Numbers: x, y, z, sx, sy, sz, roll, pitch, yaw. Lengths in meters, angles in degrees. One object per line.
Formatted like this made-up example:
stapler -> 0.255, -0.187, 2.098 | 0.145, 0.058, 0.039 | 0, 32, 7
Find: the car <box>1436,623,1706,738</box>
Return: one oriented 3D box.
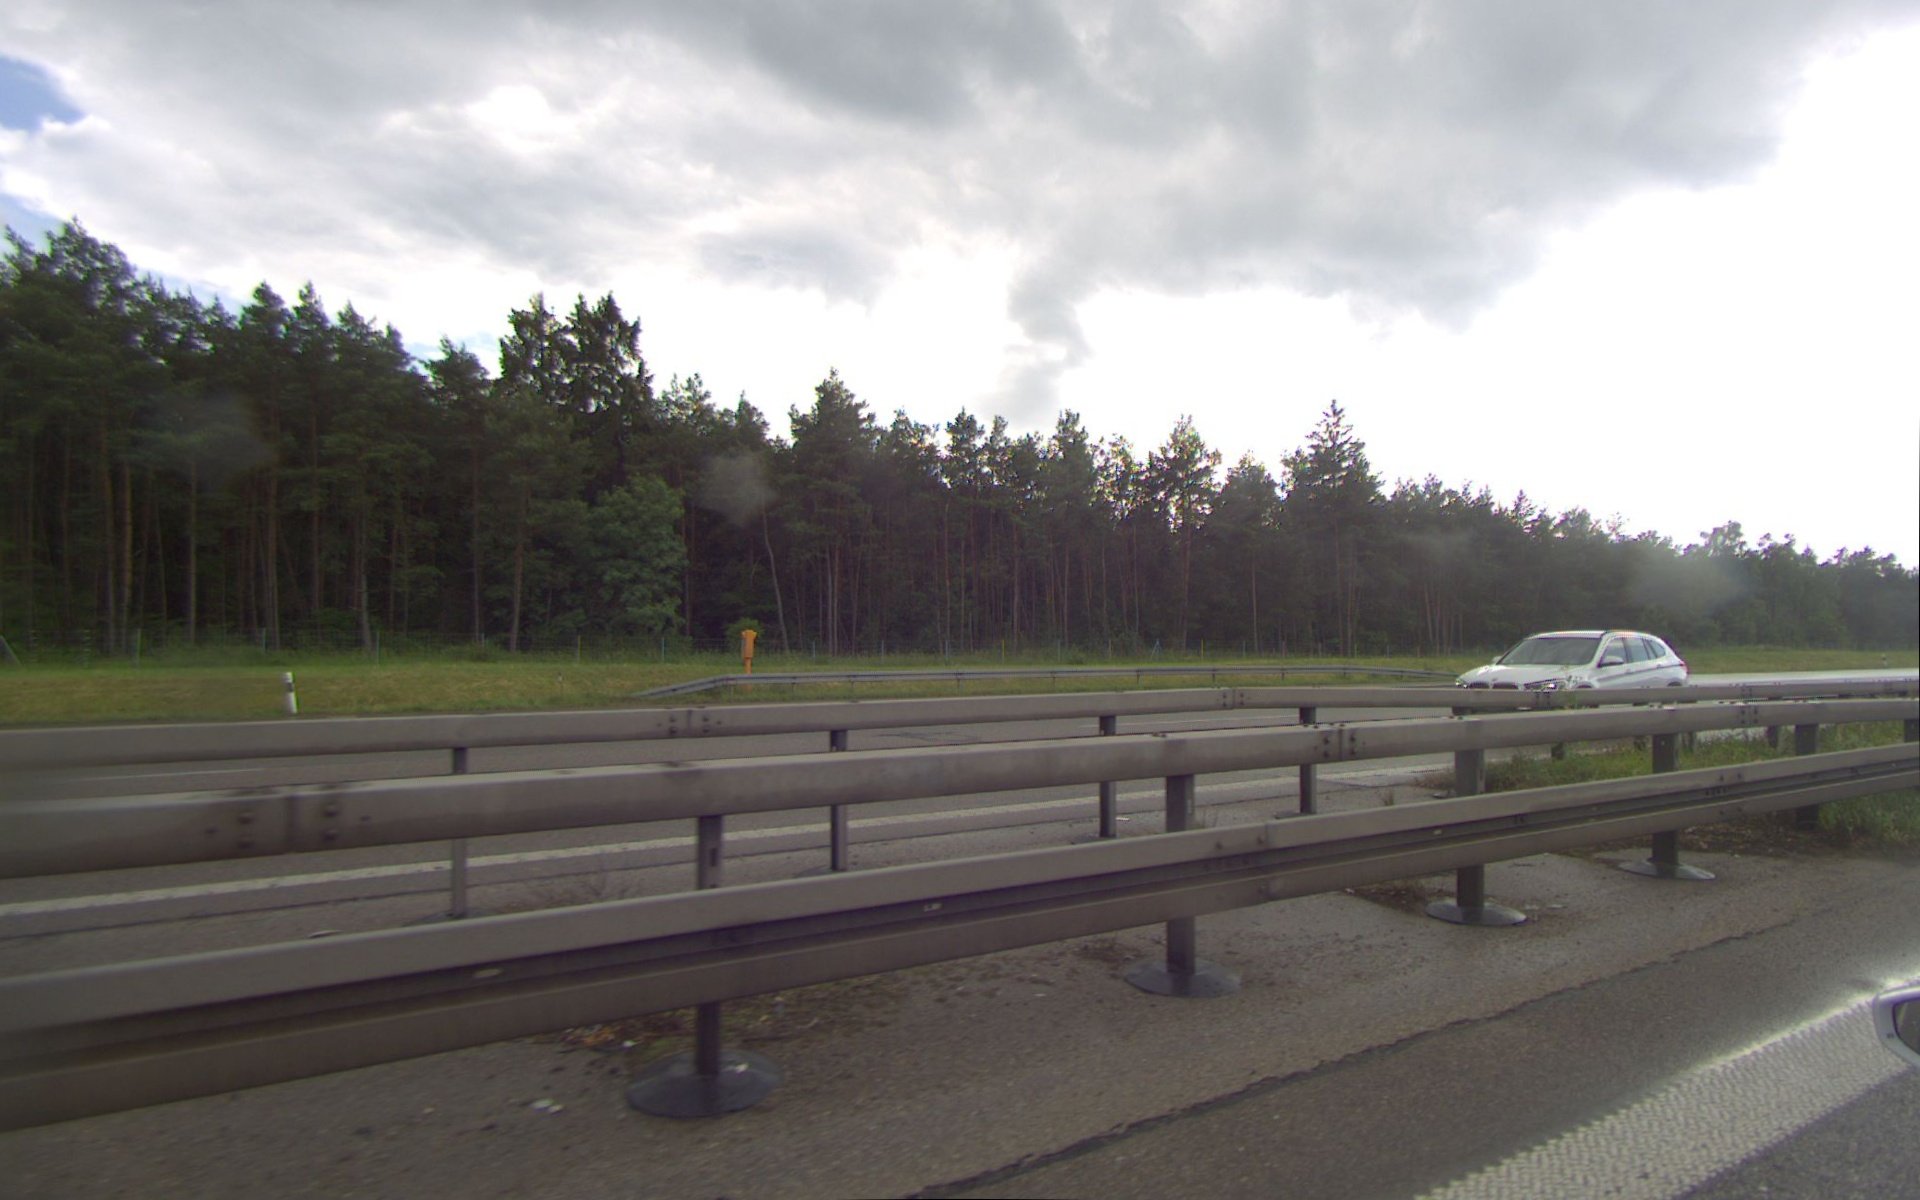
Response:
car -> 9.826, 1.202, 16.087 | 4.438, 1.610, 1.851 | 1, -2, -31
